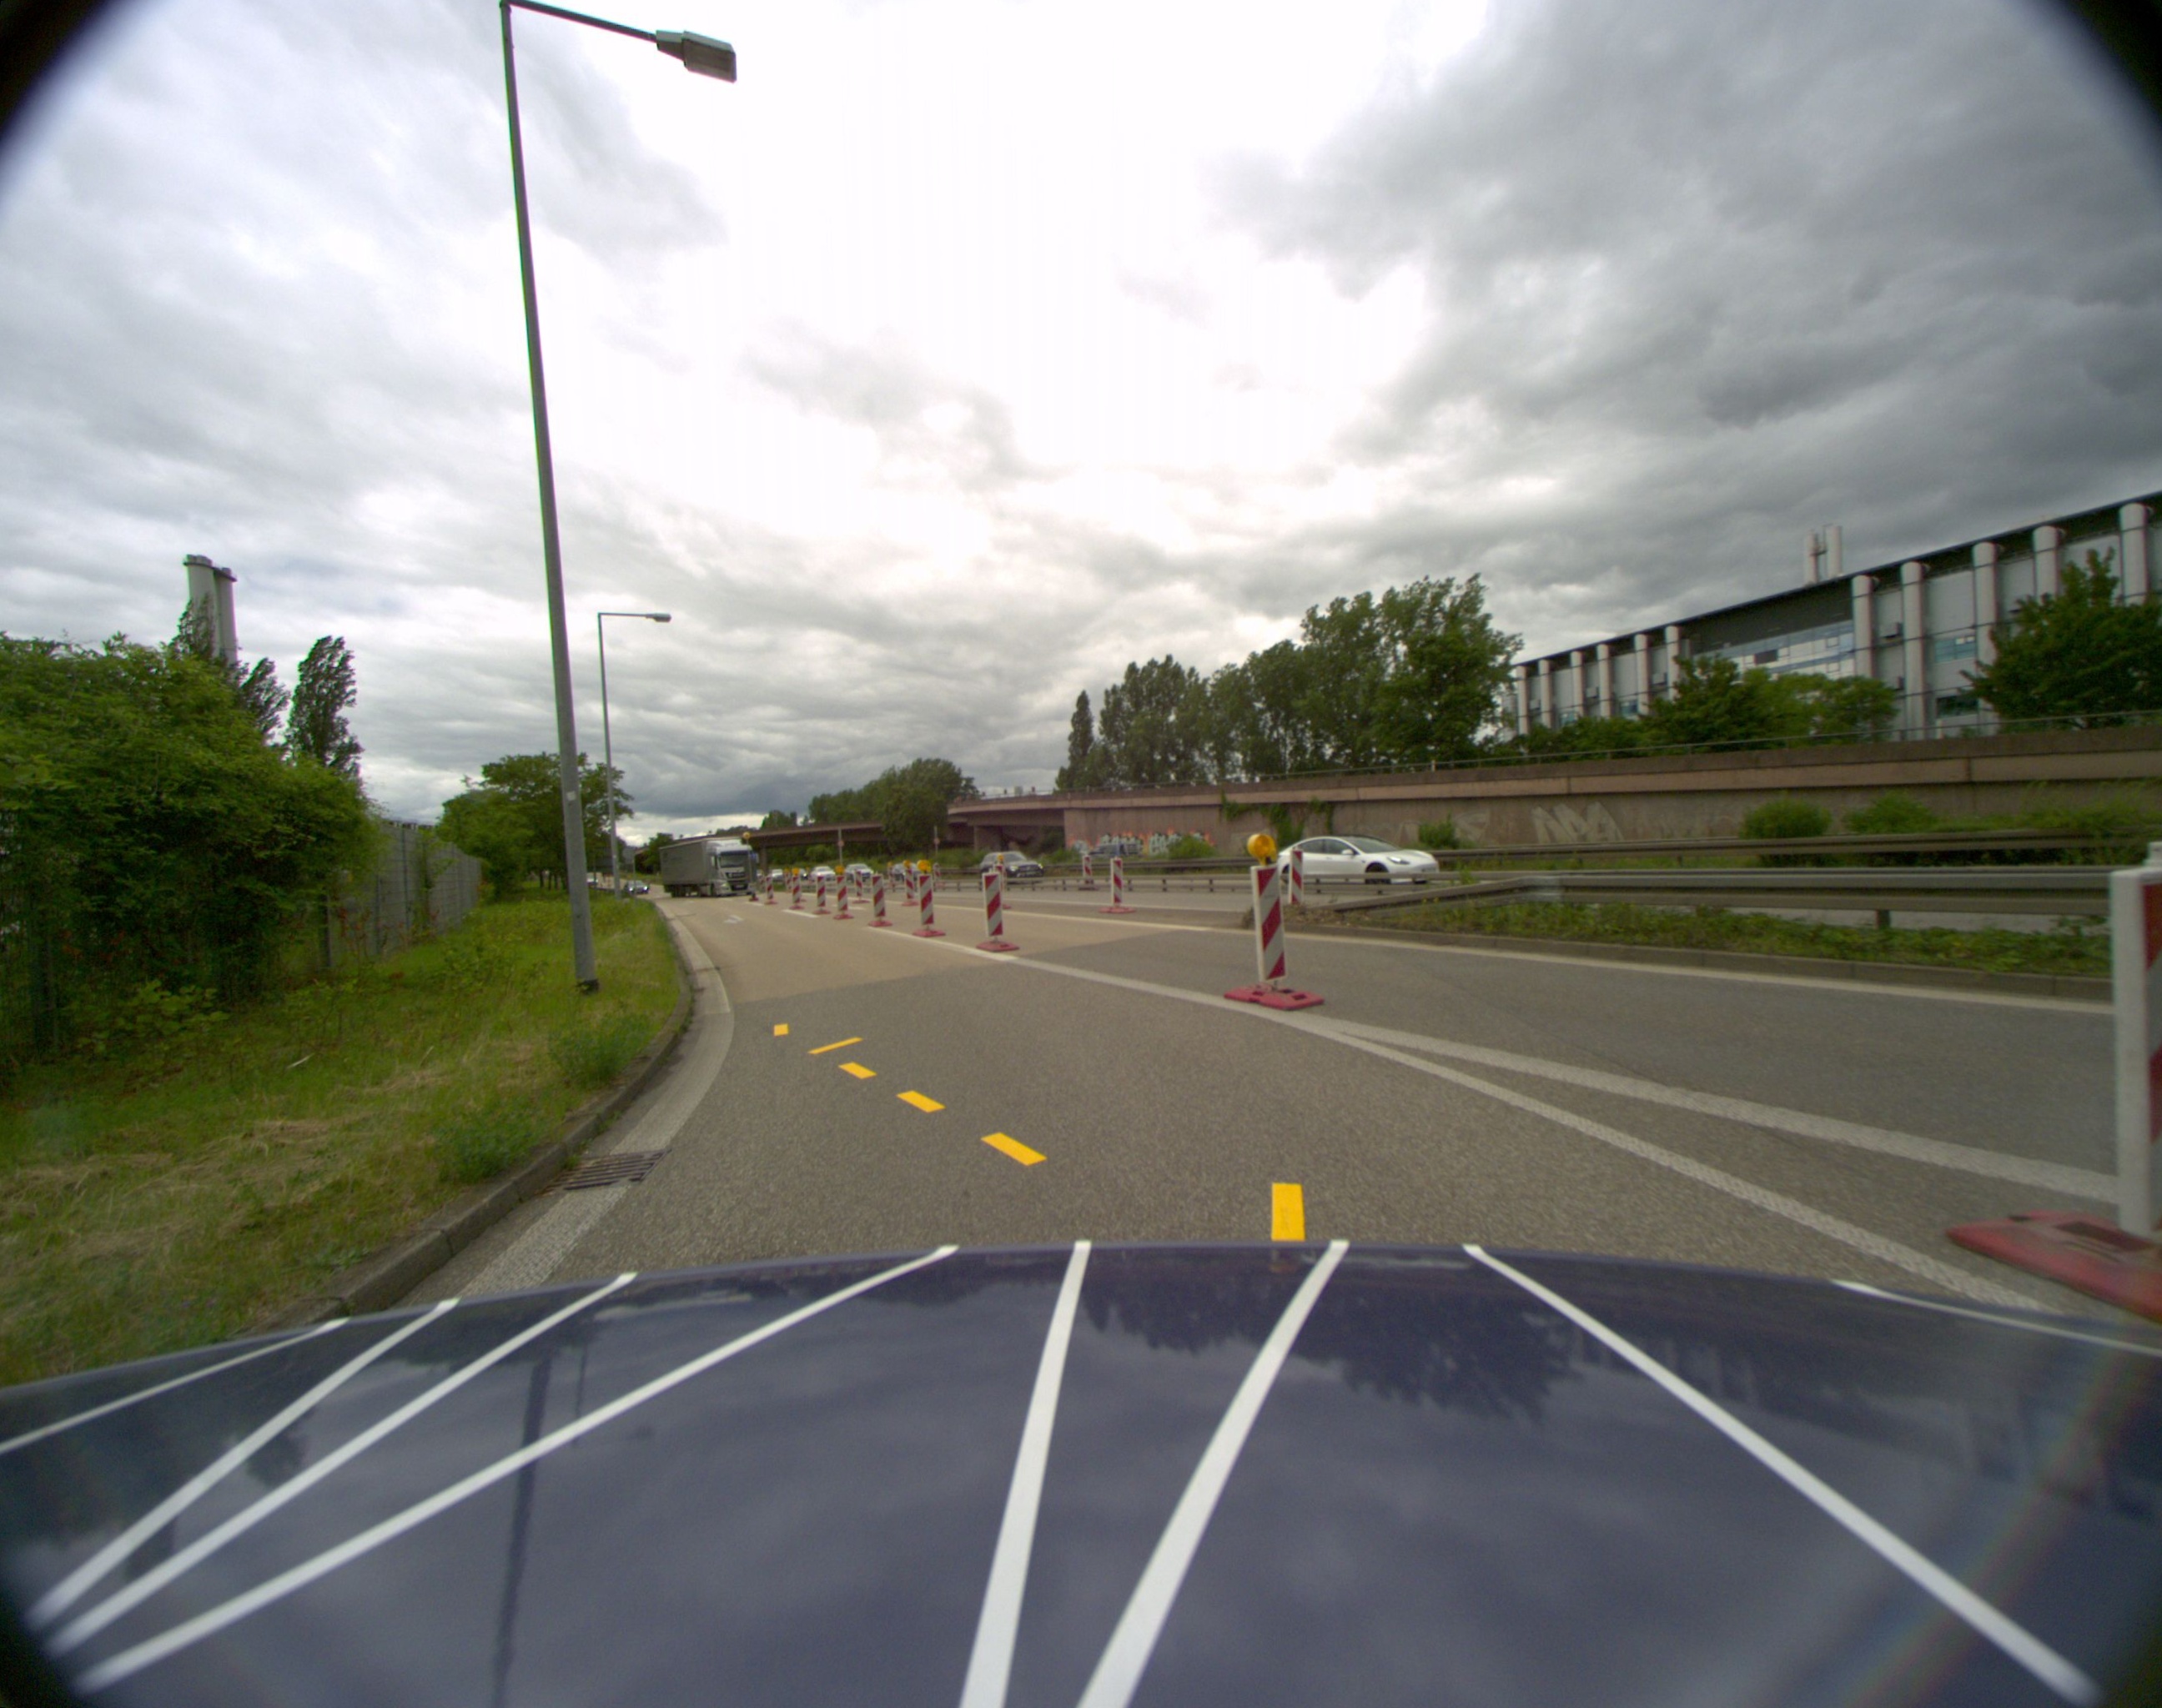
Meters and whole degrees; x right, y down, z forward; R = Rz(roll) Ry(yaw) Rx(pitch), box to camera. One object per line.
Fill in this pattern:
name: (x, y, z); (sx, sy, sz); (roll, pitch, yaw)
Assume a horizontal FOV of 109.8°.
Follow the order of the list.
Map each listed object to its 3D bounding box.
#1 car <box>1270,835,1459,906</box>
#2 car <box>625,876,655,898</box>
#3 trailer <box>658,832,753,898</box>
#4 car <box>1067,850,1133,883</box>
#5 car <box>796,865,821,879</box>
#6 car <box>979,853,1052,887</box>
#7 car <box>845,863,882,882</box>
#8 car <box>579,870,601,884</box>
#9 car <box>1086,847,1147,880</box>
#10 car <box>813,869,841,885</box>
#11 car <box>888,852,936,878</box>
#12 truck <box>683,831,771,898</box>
car: (7.452, 0.391, 20.451); (2.002, 1.533, 4.449); (-6, 3, -30)
car: (-45.048, 3.354, 77.531); (2.004, 2.002, 3.990); (-3, 0, -39)
trailer: (-28.581, 0.941, 57.345); (3.171, 4.299, 13.230); (-6, 2, -40)
car: (1.063, 0.740, 44.685); (2.002, 1.696, 3.991); (-4, 1, -29)
car: (-31.873, 2.094, 88.875); (2.003, 1.585, 4.282); (-3, 1, -29)
car: (-3.420, 0.824, 39.009); (1.984, 1.502, 4.282); (-5, 1, -30)
car: (-18.657, 1.539, 65.085); (1.806, 1.503, 3.990); (-3, 1, -34)
car: (-71.311, 3.330, 110.364); (1.996, 1.851, 3.930); (-3, 0, -42)
car: (2.297, 0.650, 50.753); (2.002, 2.002, 4.277); (-4, 1, -29)
car: (-26.187, 2.338, 78.310); (2.003, 1.585, 3.991); (-3, 1, -29)
car: (-12.131, 0.786, 54.449); (1.940, 1.694, 3.990); (-5, 2, -33)
truck: (-24.622, 0.773, 52.568); (3.169, 4.107, 8.120); (-7, 2, -40)
